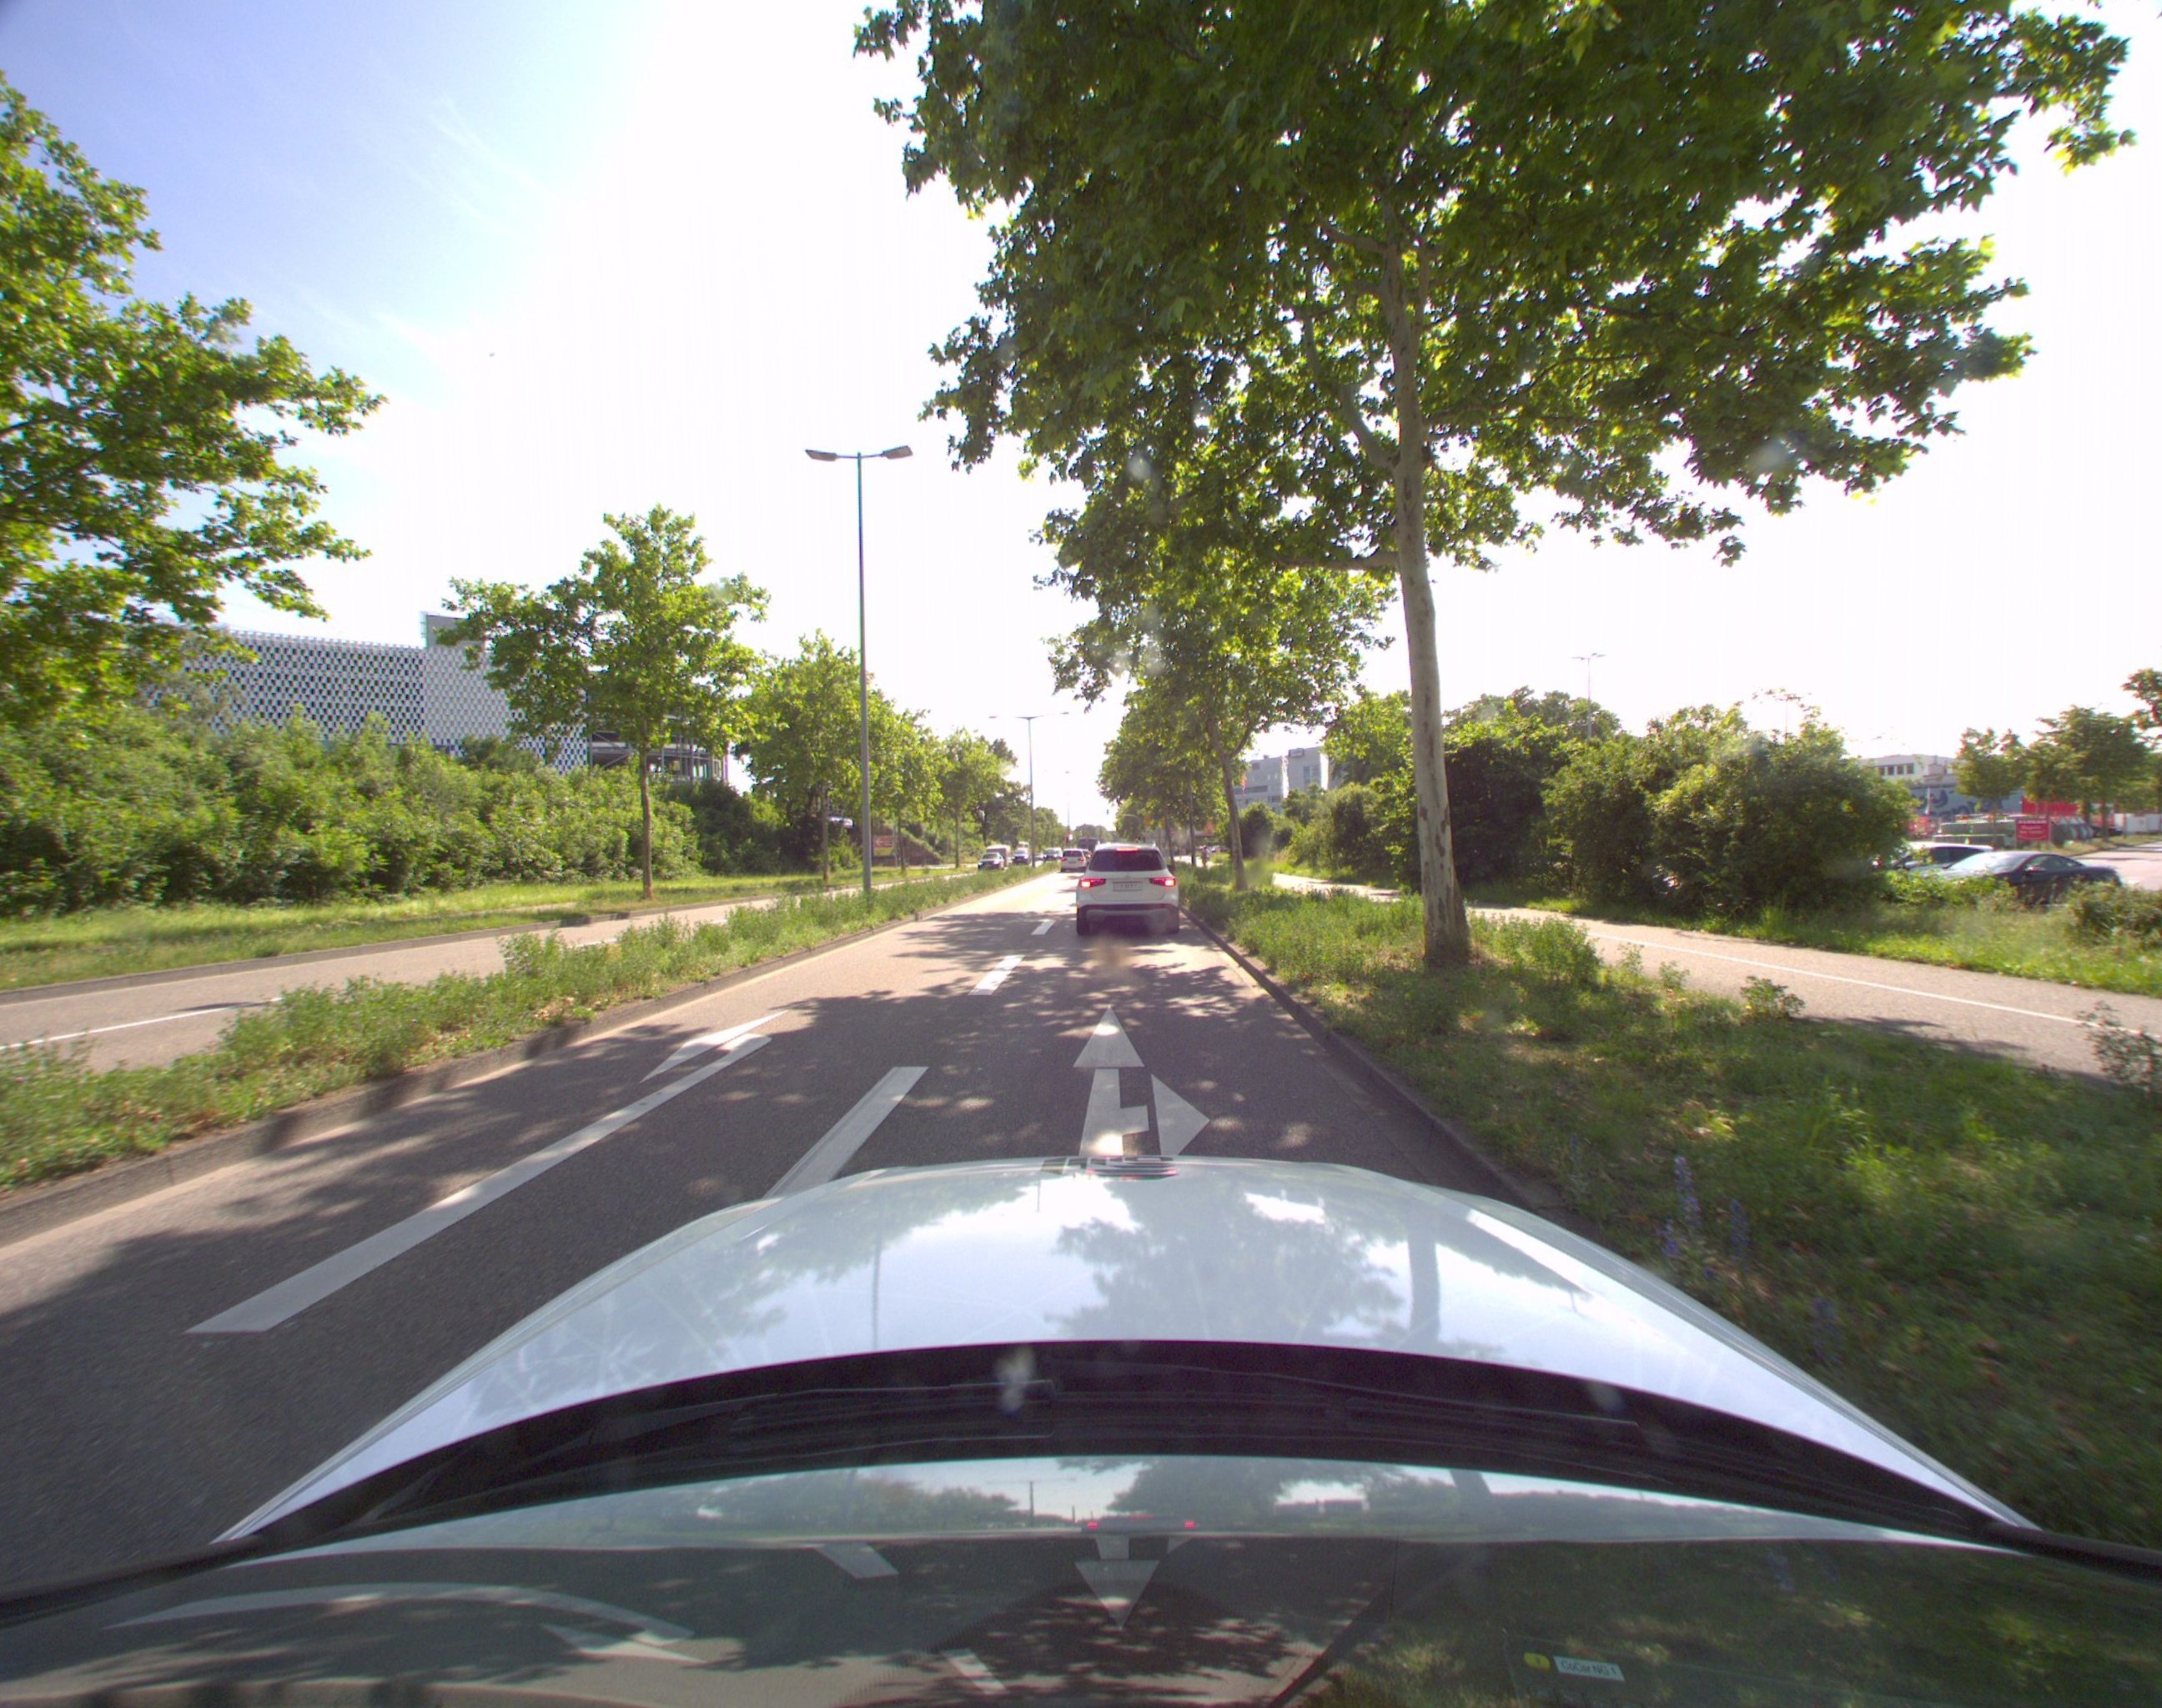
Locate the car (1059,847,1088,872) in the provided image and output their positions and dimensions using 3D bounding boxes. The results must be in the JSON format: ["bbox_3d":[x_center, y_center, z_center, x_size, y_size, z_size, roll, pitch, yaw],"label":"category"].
[{"bbox_3d":[-0.486,0.382,57.826,1.764,1.647,4.356,-1,0,3],"label":"car"}]

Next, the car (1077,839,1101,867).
[{"bbox_3d":[0.834,-0.133,79.892,2.072,2.656,4.878,0,0,3],"label":"car"}]

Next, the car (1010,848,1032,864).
[{"bbox_3d":[-6.823,0.253,93.128,1.757,1.789,5.380,0,0,3],"label":"car"}]

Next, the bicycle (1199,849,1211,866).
[{"bbox_3d":[10.120,0.278,66.498,0.719,1.299,2.097,-1,0,3],"label":"bicycle"}]

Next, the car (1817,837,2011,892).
[{"bbox_3d":[21.095,0.252,20.735,3.306,1.310,1.448,-1,0,6],"label":"car"}]

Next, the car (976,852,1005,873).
[{"bbox_3d":[-7.573,0.688,68.506,1.708,1.622,4.365,-1,0,3],"label":"car"}]

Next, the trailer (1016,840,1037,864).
[{"bbox_3d":[-6.548,-0.226,97.611,1.872,2.744,4.833,0,0,3],"label":"trailer"}]

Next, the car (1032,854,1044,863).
[{"bbox_3d":[-7.063,0.725,133.583,1.694,1.365,3.648,-1,0,2],"label":"car"}]

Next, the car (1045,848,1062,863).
[{"bbox_3d":[-3.493,0.180,103.956,1.723,1.809,4.236,0,0,3],"label":"car"}]

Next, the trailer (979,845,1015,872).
[{"bbox_3d":[-7.489,0.413,73.483,2.299,2.265,5.543,-1,0,3],"label":"trailer"}]

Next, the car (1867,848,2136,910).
[{"bbox_3d":[20.560,0.539,18.341,3.919,1.310,1.706,-1,0,6],"label":"car"}]

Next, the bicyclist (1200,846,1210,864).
[{"bbox_3d":[10.137,0.097,66.494,0.701,1.477,1.010,-1,0,3],"label":"bicyclist"}]

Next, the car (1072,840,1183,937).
[{"bbox_3d":[0.769,0.575,15.703,1.848,1.607,3.998,-1,0,-1],"label":"car"}]

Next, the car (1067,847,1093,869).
[{"bbox_3d":[-0.066,0.310,63.827,1.764,1.647,4.088,-1,0,3],"label":"car"}]
